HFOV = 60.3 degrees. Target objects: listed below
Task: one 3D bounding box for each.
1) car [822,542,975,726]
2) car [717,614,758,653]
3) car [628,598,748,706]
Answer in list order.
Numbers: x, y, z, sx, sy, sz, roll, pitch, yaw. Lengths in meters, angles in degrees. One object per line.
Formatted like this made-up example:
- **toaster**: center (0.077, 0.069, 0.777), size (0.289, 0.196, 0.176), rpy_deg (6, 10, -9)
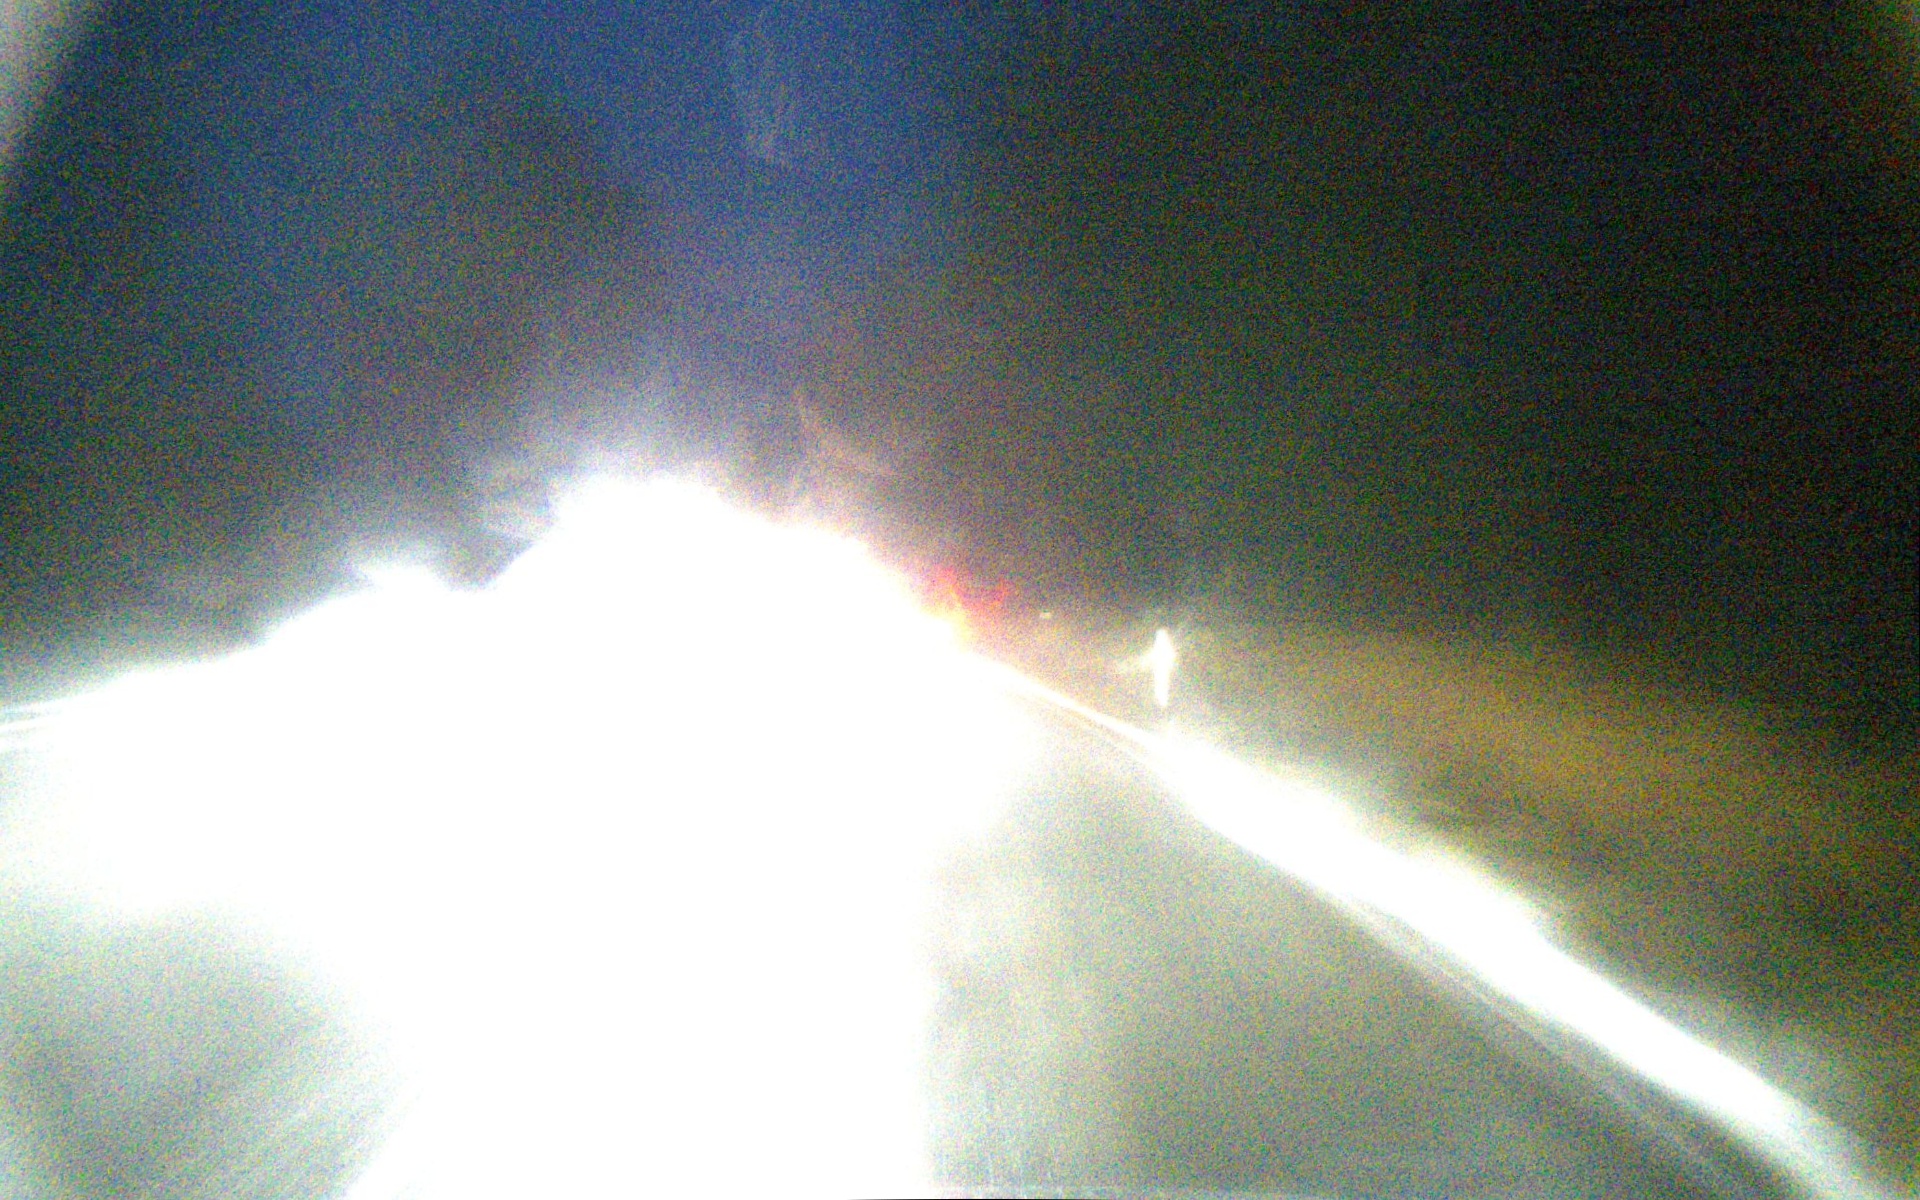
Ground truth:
- **car**: center (-1.005, 0.505, 26.728), size (2.137, 2.602, 4.505), rpy_deg (3, 0, -3)
- **car**: center (-9.761, 1.447, 72.747), size (1.533, 1.551, 3.482), rpy_deg (-2, 1, -5)
- **car**: center (-4.357, 0.780, 26.930), size (1.563, 1.536, 3.597), rpy_deg (-2, 1, -4)
